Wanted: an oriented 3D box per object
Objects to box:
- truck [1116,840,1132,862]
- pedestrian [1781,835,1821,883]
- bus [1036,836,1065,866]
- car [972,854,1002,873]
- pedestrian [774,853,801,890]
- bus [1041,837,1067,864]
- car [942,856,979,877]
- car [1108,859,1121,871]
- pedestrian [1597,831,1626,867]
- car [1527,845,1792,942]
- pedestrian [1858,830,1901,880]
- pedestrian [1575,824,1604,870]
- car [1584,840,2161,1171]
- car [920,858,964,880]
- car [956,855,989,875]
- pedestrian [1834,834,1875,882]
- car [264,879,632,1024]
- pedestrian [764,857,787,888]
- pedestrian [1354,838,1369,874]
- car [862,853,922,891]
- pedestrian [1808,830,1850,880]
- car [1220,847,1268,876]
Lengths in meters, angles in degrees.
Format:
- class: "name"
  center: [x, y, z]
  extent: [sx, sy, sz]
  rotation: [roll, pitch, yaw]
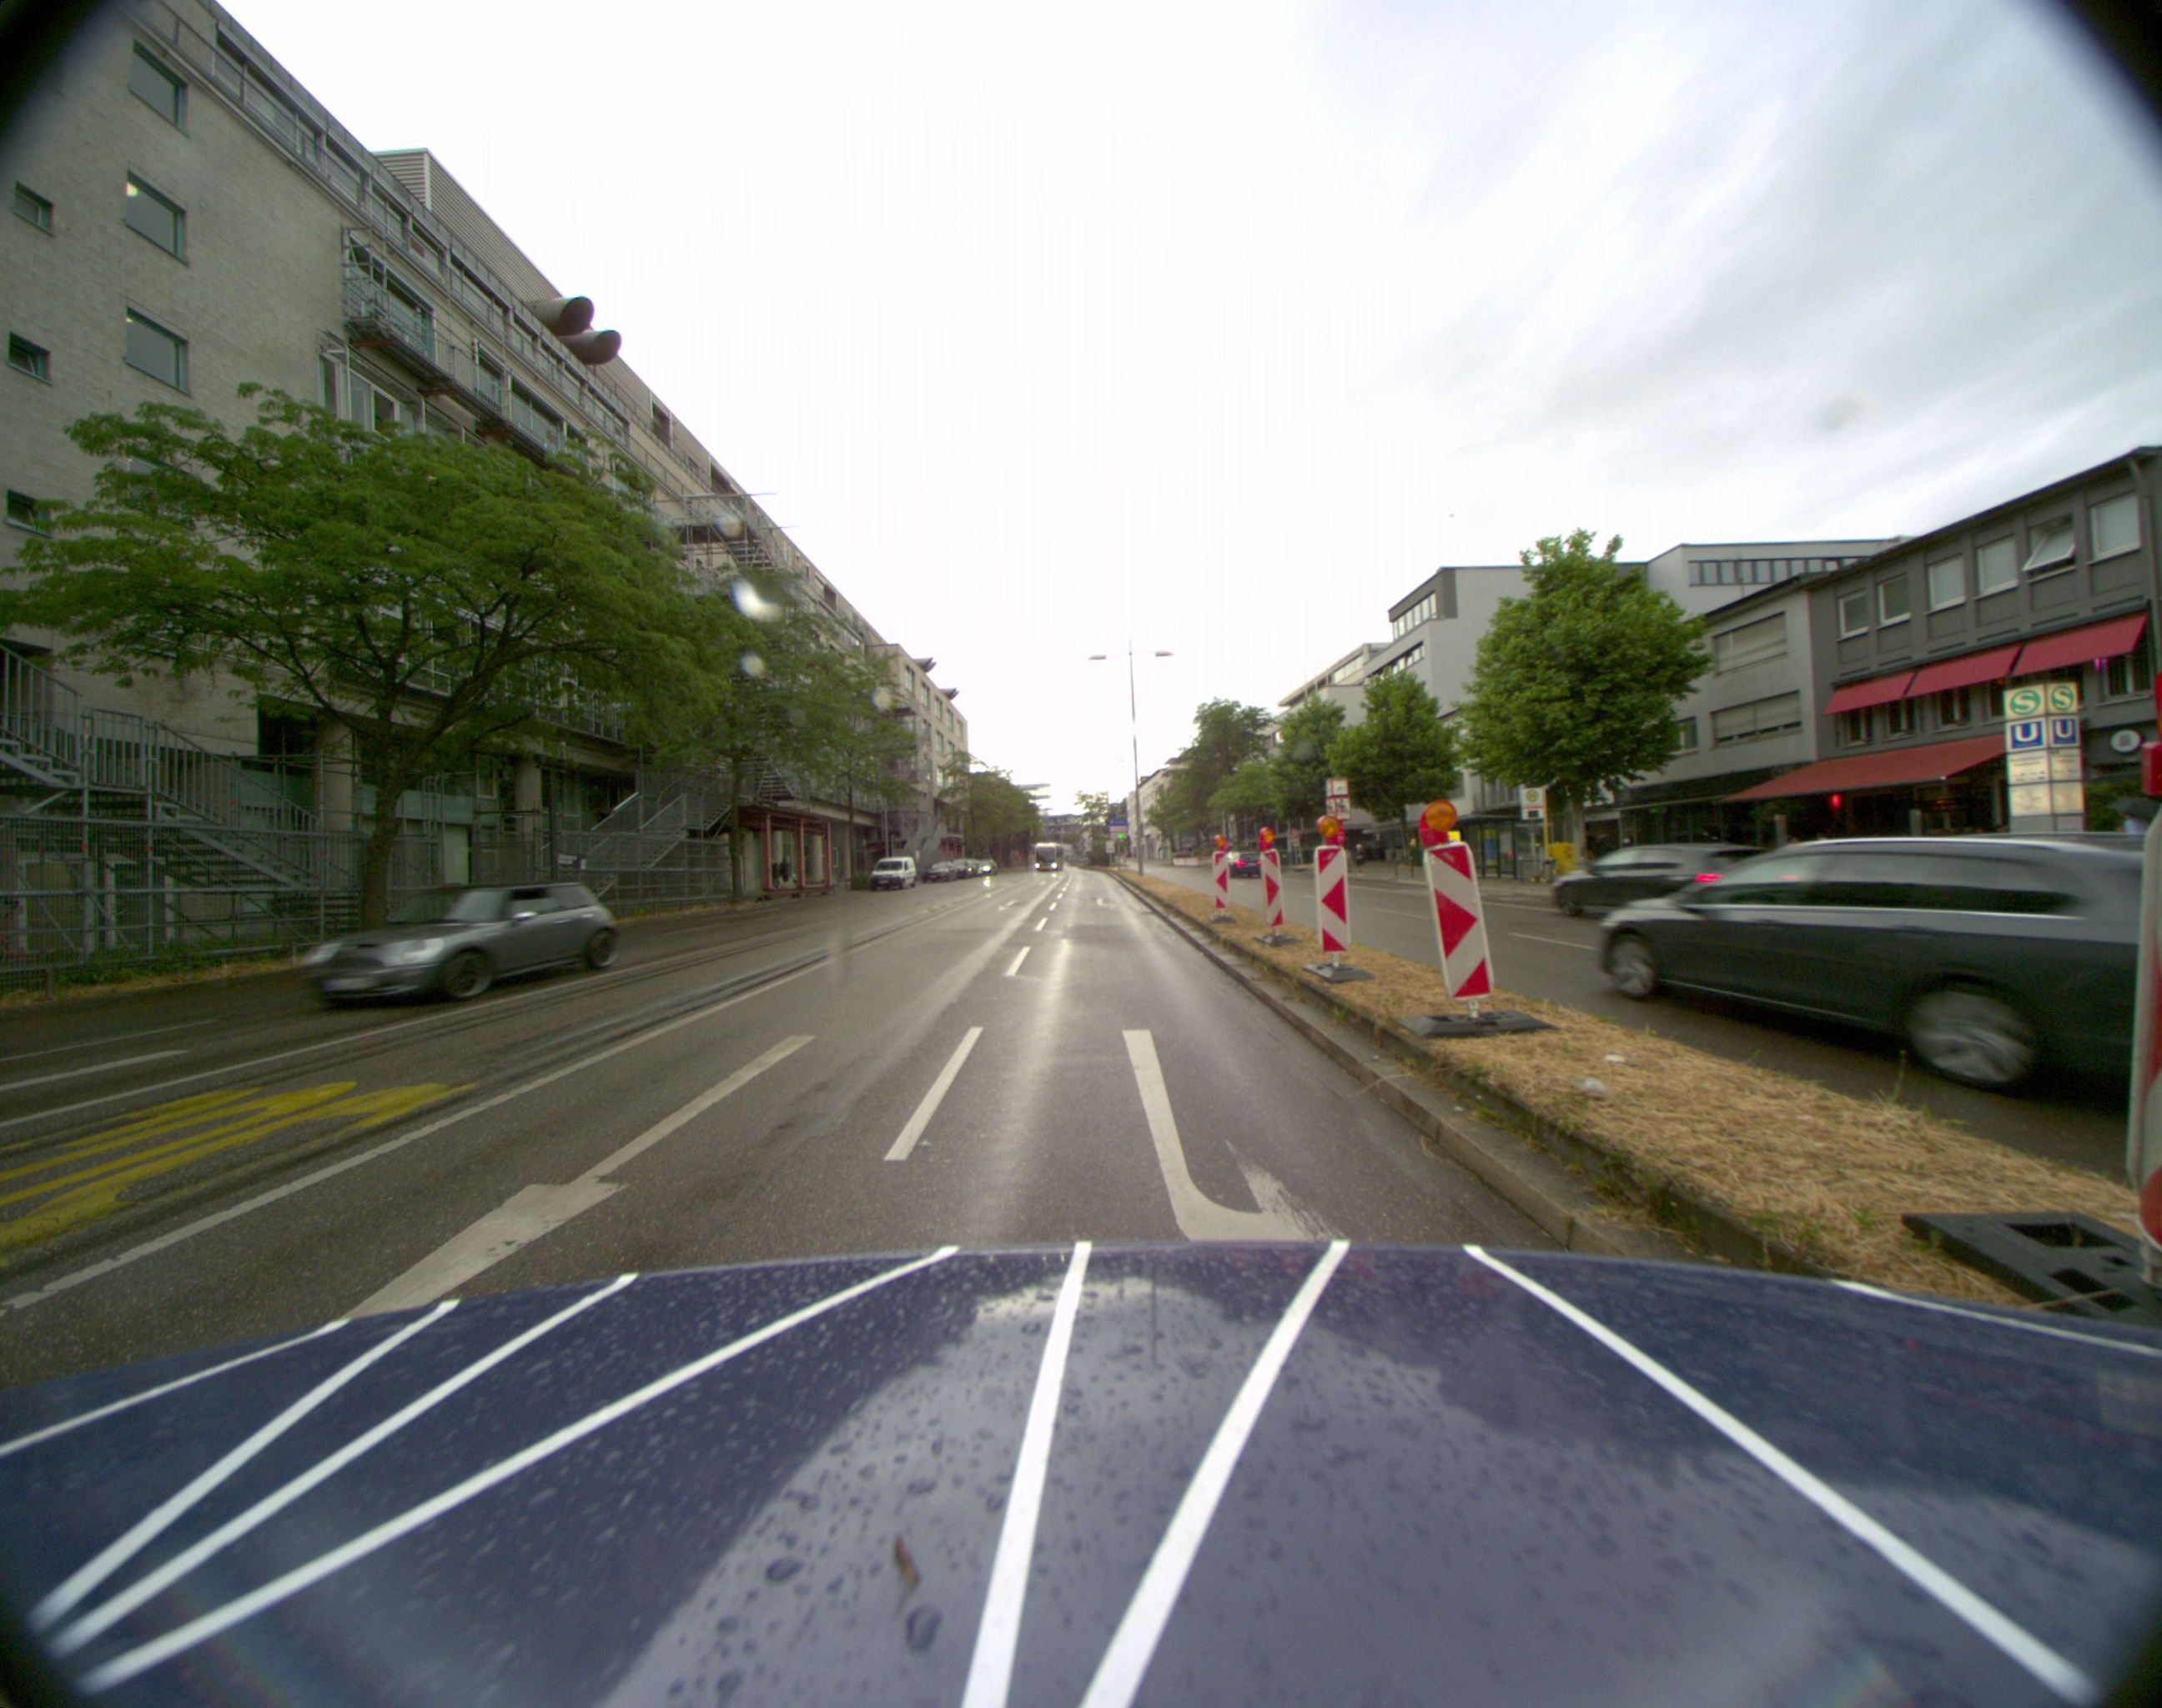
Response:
- class: "truck"
  center: [7.101, -0.541, 127.115]
  extent: [1.999, 3.557, 7.572]
  rotation: [-2, 0, -2]
- class: "pedestrian"
  center: [23.339, 0.154, 24.632]
  extent: [0.669, 1.520, 0.611]
  rotation: [-2, 1, 3]
- class: "bus"
  center: [-3.664, -0.419, 92.624]
  extent: [2.890, 3.430, 9.756]
  rotation: [-2, 1, 1]
- class: "car"
  center: [-8.896, 0.907, 72.424]
  extent: [2.147, 1.637, 4.816]
  rotation: [-2, 1, 0]
- class: "pedestrian"
  center: [-16.291, 0.956, 42.152]
  extent: [1.009, 2.002, 1.039]
  rotation: [-2, 1, 1]
- class: "bus"
  center: [-3.524, -0.530, 102.366]
  extent: [2.890, 3.420, 9.709]
  rotation: [-2, 1, 1]
- class: "car"
  center: [-9.627, 0.987, 61.219]
  extent: [2.147, 1.486, 4.816]
  rotation: [-2, 1, 0]
- class: "car"
  center: [6.032, 1.952, 136.049]
  extent: [1.999, 2.002, 3.999]
  rotation: [-2, 1, -2]
- class: "pedestrian"
  center: [23.785, -0.237, 34.055]
  extent: [0.774, 1.556, 0.767]
  rotation: [-2, 1, 8]
- class: "car"
  center: [10.655, 0.615, 14.477]
  extent: [1.692, 1.423, 4.211]
  rotation: [-2, 2, -3]
- class: "pedestrian"
  center: [24.990, 0.039, 23.791]
  extent: [0.669, 1.520, 0.611]
  rotation: [-2, 1, 3]
- class: "pedestrian"
  center: [22.819, -0.309, 34.096]
  extent: [0.774, 2.002, 0.767]
  rotation: [-2, 1, 8]
- class: "car"
  center: [5.825, 0.688, 5.360]
  extent: [1.692, 1.501, 4.291]
  rotation: [-2, 0, 0]
- class: "car"
  center: [-9.894, 1.062, 54.420]
  extent: [2.147, 1.329, 4.816]
  rotation: [-2, 1, 0]
- class: "car"
  center: [-9.467, 0.947, 66.688]
  extent: [2.147, 1.552, 4.816]
  rotation: [-2, 1, 0]
- class: "pedestrian"
  center: [24.969, 0.127, 24.522]
  extent: [0.669, 1.520, 0.611]
  rotation: [-2, 1, 4]
- class: "car"
  center: [-8.175, 1.153, 10.339]
  extent: [1.743, 1.447, 3.722]
  rotation: [-2, 0, 3]
- class: "pedestrian"
  center: [-18.611, 1.114, 46.355]
  extent: [1.010, 1.789, 0.846]
  rotation: [-2, 1, -3]
- class: "pedestrian"
  center: [14.481, 0.101, 39.276]
  extent: [0.575, 1.815, 0.580]
  rotation: [-2, 1, 7]
- class: "car"
  center: [-10.529, 0.949, 42.655]
  extent: [2.213, 1.895, 4.329]
  rotation: [-2, 1, 0]
- class: "pedestrian"
  center: [23.224, 0.040, 23.605]
  extent: [0.669, 1.520, 0.611]
  rotation: [-2, 1, 3]
- class: "car"
  center: [9.465, 0.372, 44.435]
  extent: [1.692, 1.545, 4.419]
  rotation: [-2, 1, -2]
